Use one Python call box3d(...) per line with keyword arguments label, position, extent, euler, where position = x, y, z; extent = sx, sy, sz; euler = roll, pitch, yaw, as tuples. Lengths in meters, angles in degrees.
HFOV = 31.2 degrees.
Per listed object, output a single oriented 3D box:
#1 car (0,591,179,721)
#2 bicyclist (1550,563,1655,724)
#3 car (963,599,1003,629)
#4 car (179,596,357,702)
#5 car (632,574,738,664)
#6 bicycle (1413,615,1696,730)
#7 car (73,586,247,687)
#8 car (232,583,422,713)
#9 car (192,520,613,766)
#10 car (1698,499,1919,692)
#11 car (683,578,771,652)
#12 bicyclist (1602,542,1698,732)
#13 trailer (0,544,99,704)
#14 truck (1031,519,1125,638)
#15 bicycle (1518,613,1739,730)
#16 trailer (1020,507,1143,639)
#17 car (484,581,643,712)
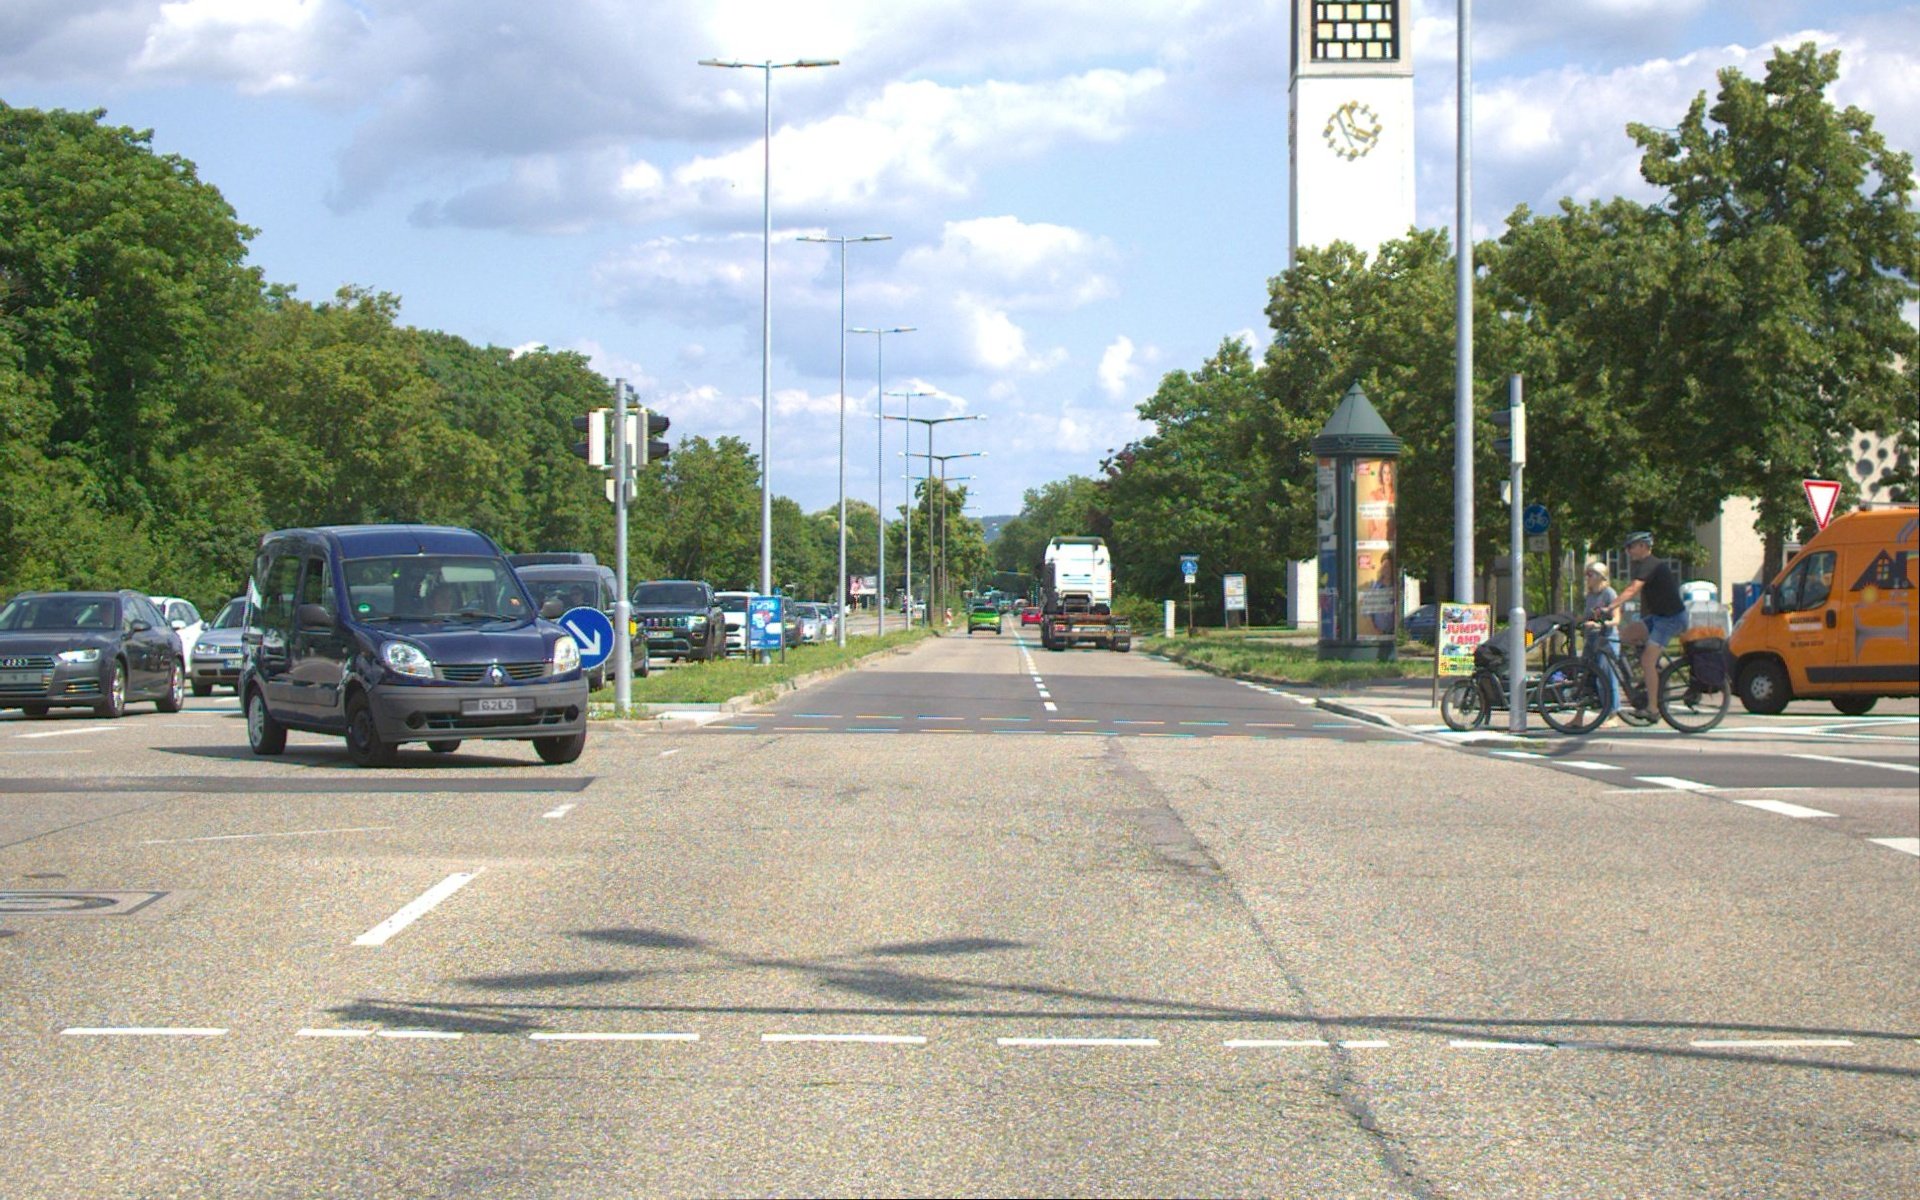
box3d(label="car", position=(-9.829, 0.584, 37.683), extent=(1.763, 1.347, 3.519), euler=(0, 0, -1))
box3d(label="bicyclist", position=(6.509, 0.433, 34.839), extent=(0.698, 1.610, 0.797), euler=(0, 0, -24))
box3d(label="car", position=(1.228, 0.734, 185.810), extent=(1.993, 1.547, 4.000), euler=(2, 0, -1))
box3d(label="car", position=(-9.833, 0.669, 49.095), extent=(1.725, 1.393, 4.000), euler=(2, 0, -1))
box3d(label="car", position=(-5.400, 0.366, 67.913), extent=(1.734, 1.654, 4.231), euler=(2, 0, -1))
box3d(label="bicycle", position=(5.996, 0.719, 34.623), extent=(2.832, 1.108, 0.797), euler=(0, 1, -24))
box3d(label="car", position=(-12.837, 0.568, 55.366), extent=(1.858, 1.508, 4.000), euler=(2, 0, -1))
box3d(label="car", position=(-6.925, 0.506, 37.870), extent=(1.568, 1.311, 3.432), euler=(2, 0, -3))
box3d(label="car", position=(-4.240, 0.276, 25.603), extent=(1.734, 1.654, 4.231), euler=(2, 0, -29))
box3d(label="car", position=(11.422, -0.035, 40.680), extent=(2.205, 2.218, 4.858), euler=(2, 0, -40))
box3d(label="car", position=(-5.526, 0.357, 81.974), extent=(1.734, 1.654, 4.231), euler=(2, 0, 0))
box3d(label="bicyclist", position=(6.618, 0.345, 33.000), extent=(0.787, 1.798, 0.686), euler=(0, 0, 3))
box3d(label="trailer", position=(-13.067, 0.270, 44.700), extent=(2.124, 2.007, 5.161), euler=(2, 0, 3))
box3d(label="truck", position=(4.167, -0.696, 119.503), extent=(2.960, 3.957, 8.636), euler=(1, -1, 4))
box3d(label="bicycle", position=(6.409, 0.681, 33.018), extent=(1.997, 1.090, 0.686), euler=(0, 0, 3))
box3d(label="trailer", position=(4.026, -0.780, 111.429), extent=(3.621, 3.998, 11.317), euler=(1, 0, 4))
box3d(label="car", position=(-5.598, 0.623, 48.949), extent=(1.734, 1.654, 4.231), euler=(2, 1, 0))
